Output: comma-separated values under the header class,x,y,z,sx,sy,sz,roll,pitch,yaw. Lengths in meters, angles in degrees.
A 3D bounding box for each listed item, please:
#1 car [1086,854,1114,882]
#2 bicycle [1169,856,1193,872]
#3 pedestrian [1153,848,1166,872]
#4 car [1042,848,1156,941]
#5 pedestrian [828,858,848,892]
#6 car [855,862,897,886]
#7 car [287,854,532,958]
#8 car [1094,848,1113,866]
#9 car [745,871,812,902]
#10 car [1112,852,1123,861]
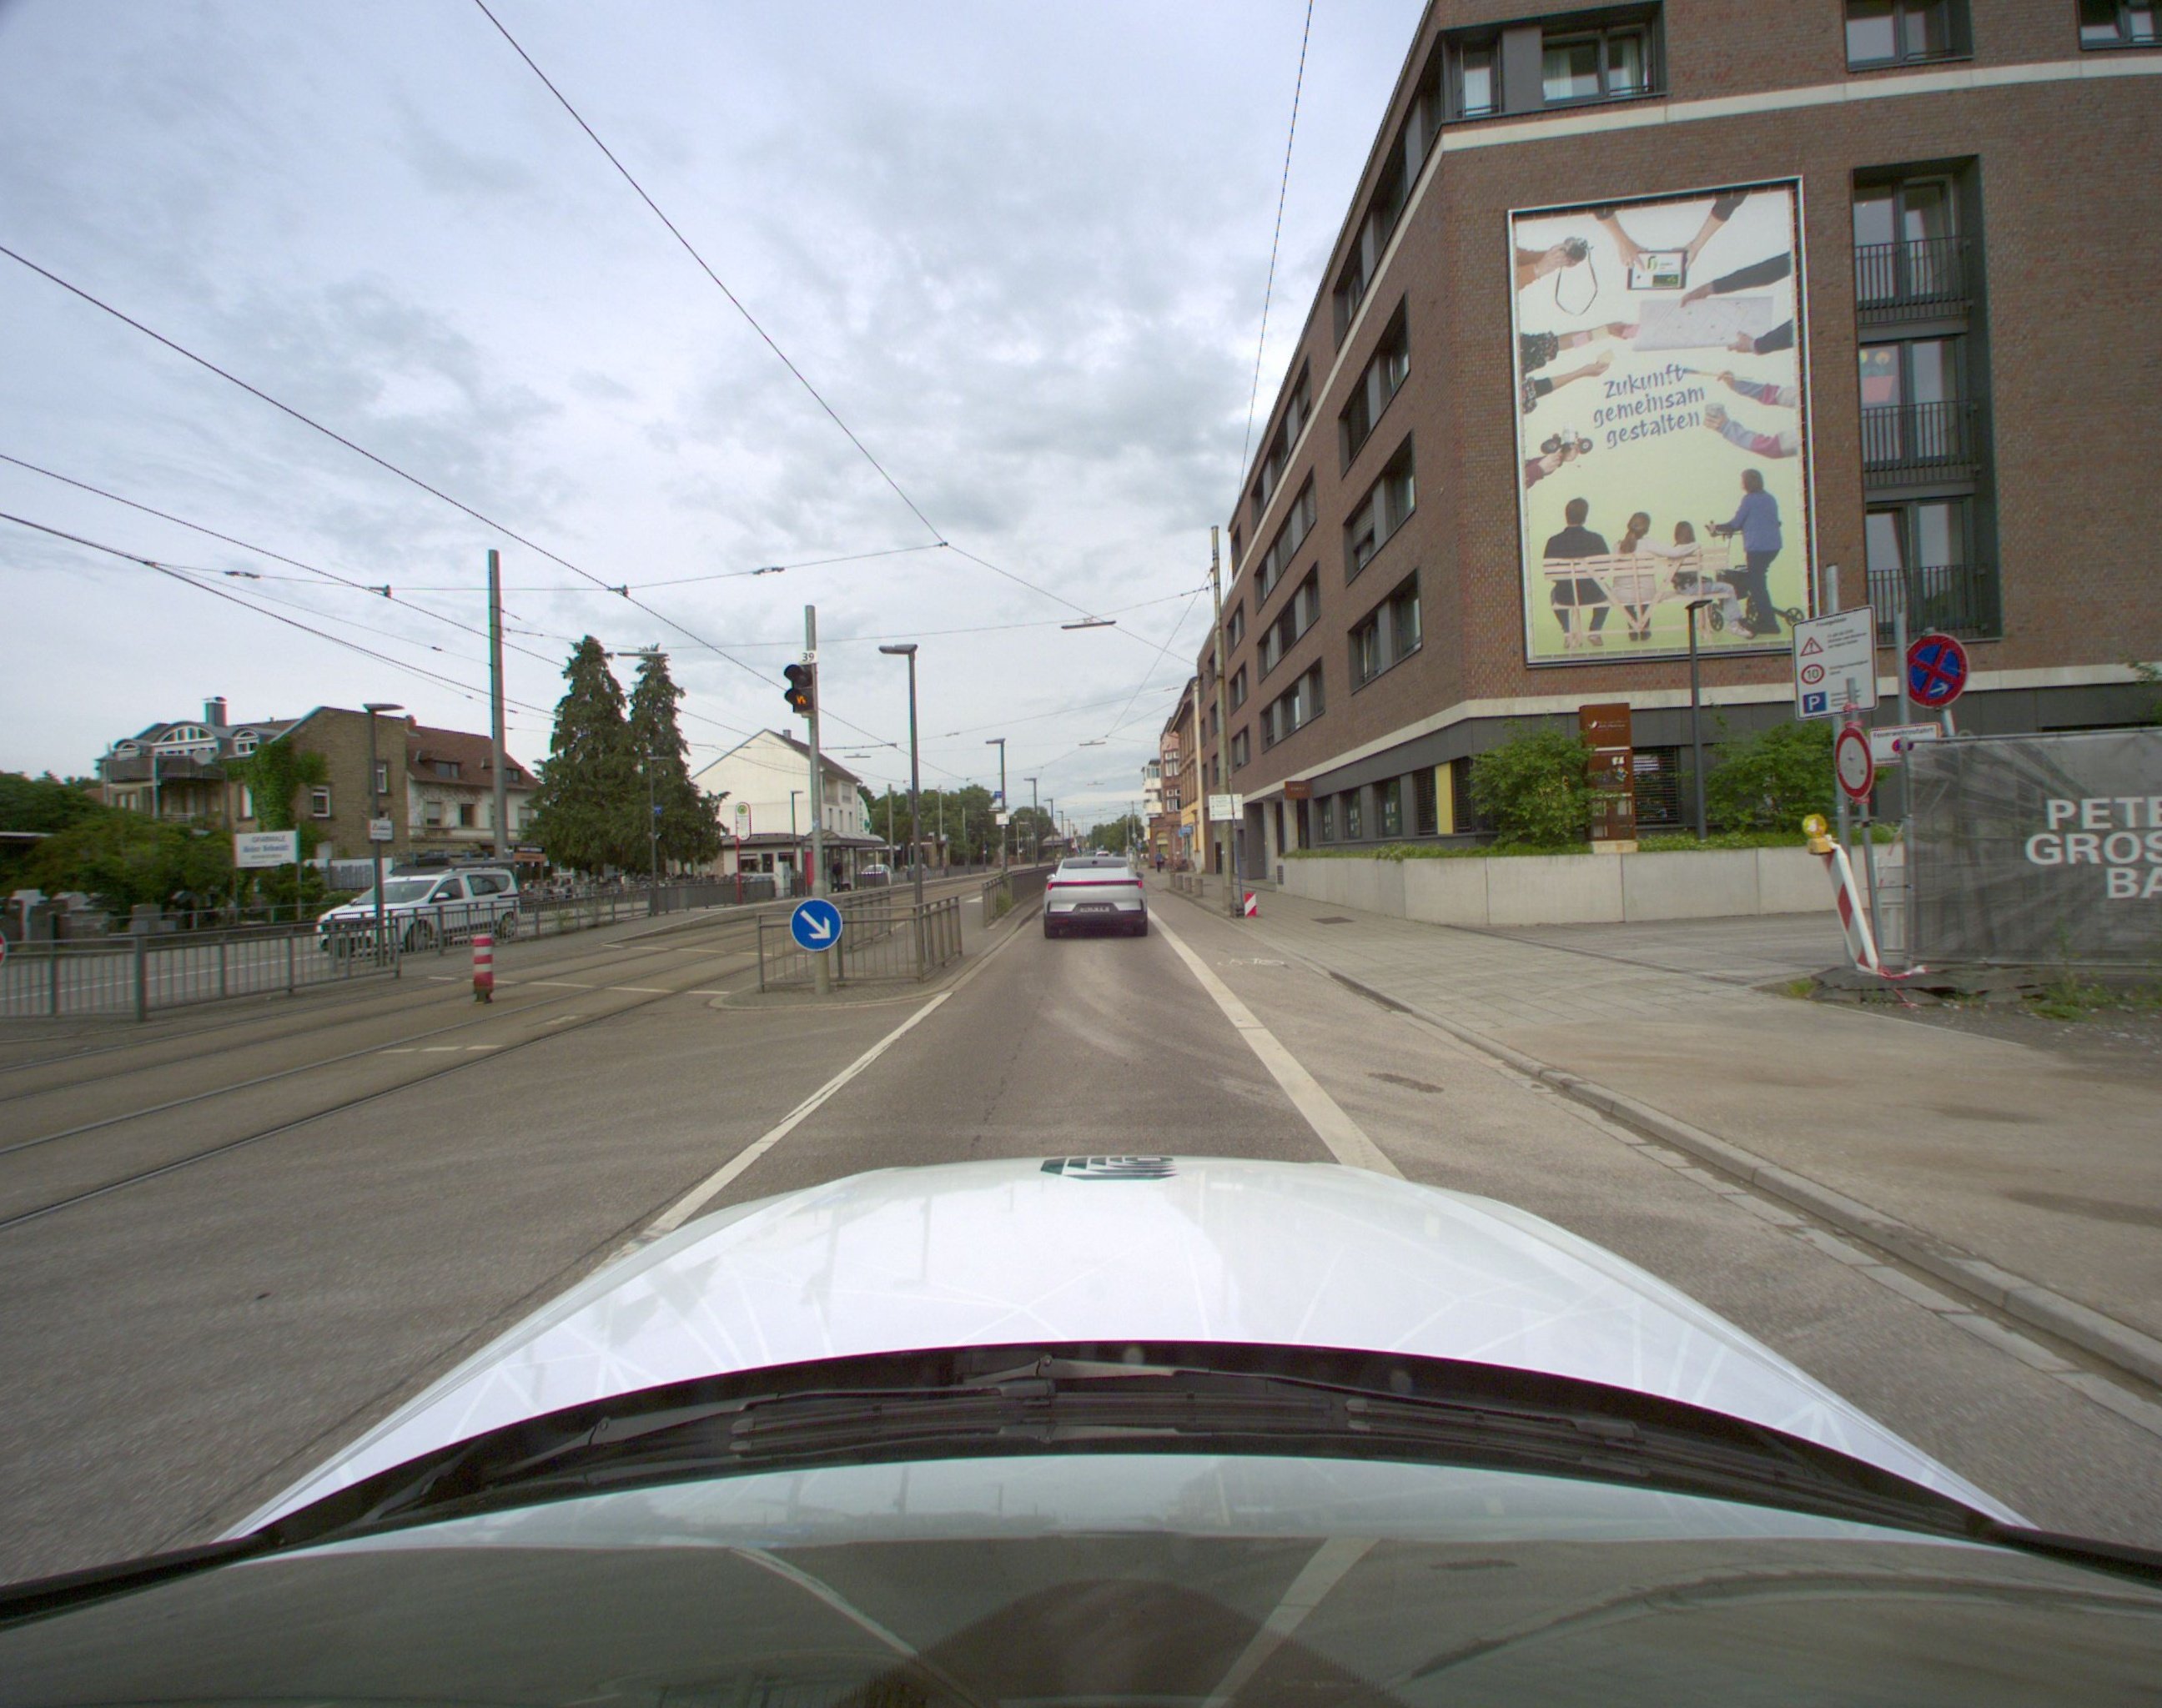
class,x,y,z,sx,sy,sz,roll,pitch,yaw
car,1.201,0.896,51.716,1.675,1.687,3.825,-1,-1,2
bicycle,7.954,0.773,65.003,1.772,1.129,0.642,-5,0,0
pedestrian,6.506,0.496,67.468,0.955,1.850,0.977,-4,0,7
car,0.229,0.743,16.410,1.995,1.581,3.995,-1,-1,-3
pedestrian,-11.833,1.014,39.668,0.609,1.664,0.701,-2,-1,27
car,-14.903,1.441,59.354,1.858,1.486,4.000,-5,0,1
car,-14.925,1.055,18.525,1.880,1.988,4.521,-3,0,-2
car,3.075,0.405,110.873,2.220,2.402,5.119,-1,-1,-2
car,-14.853,1.583,40.228,1.744,1.299,3.834,-3,-1,1
car,10.005,0.678,224.533,2.797,2.505,5.724,-1,-1,2
